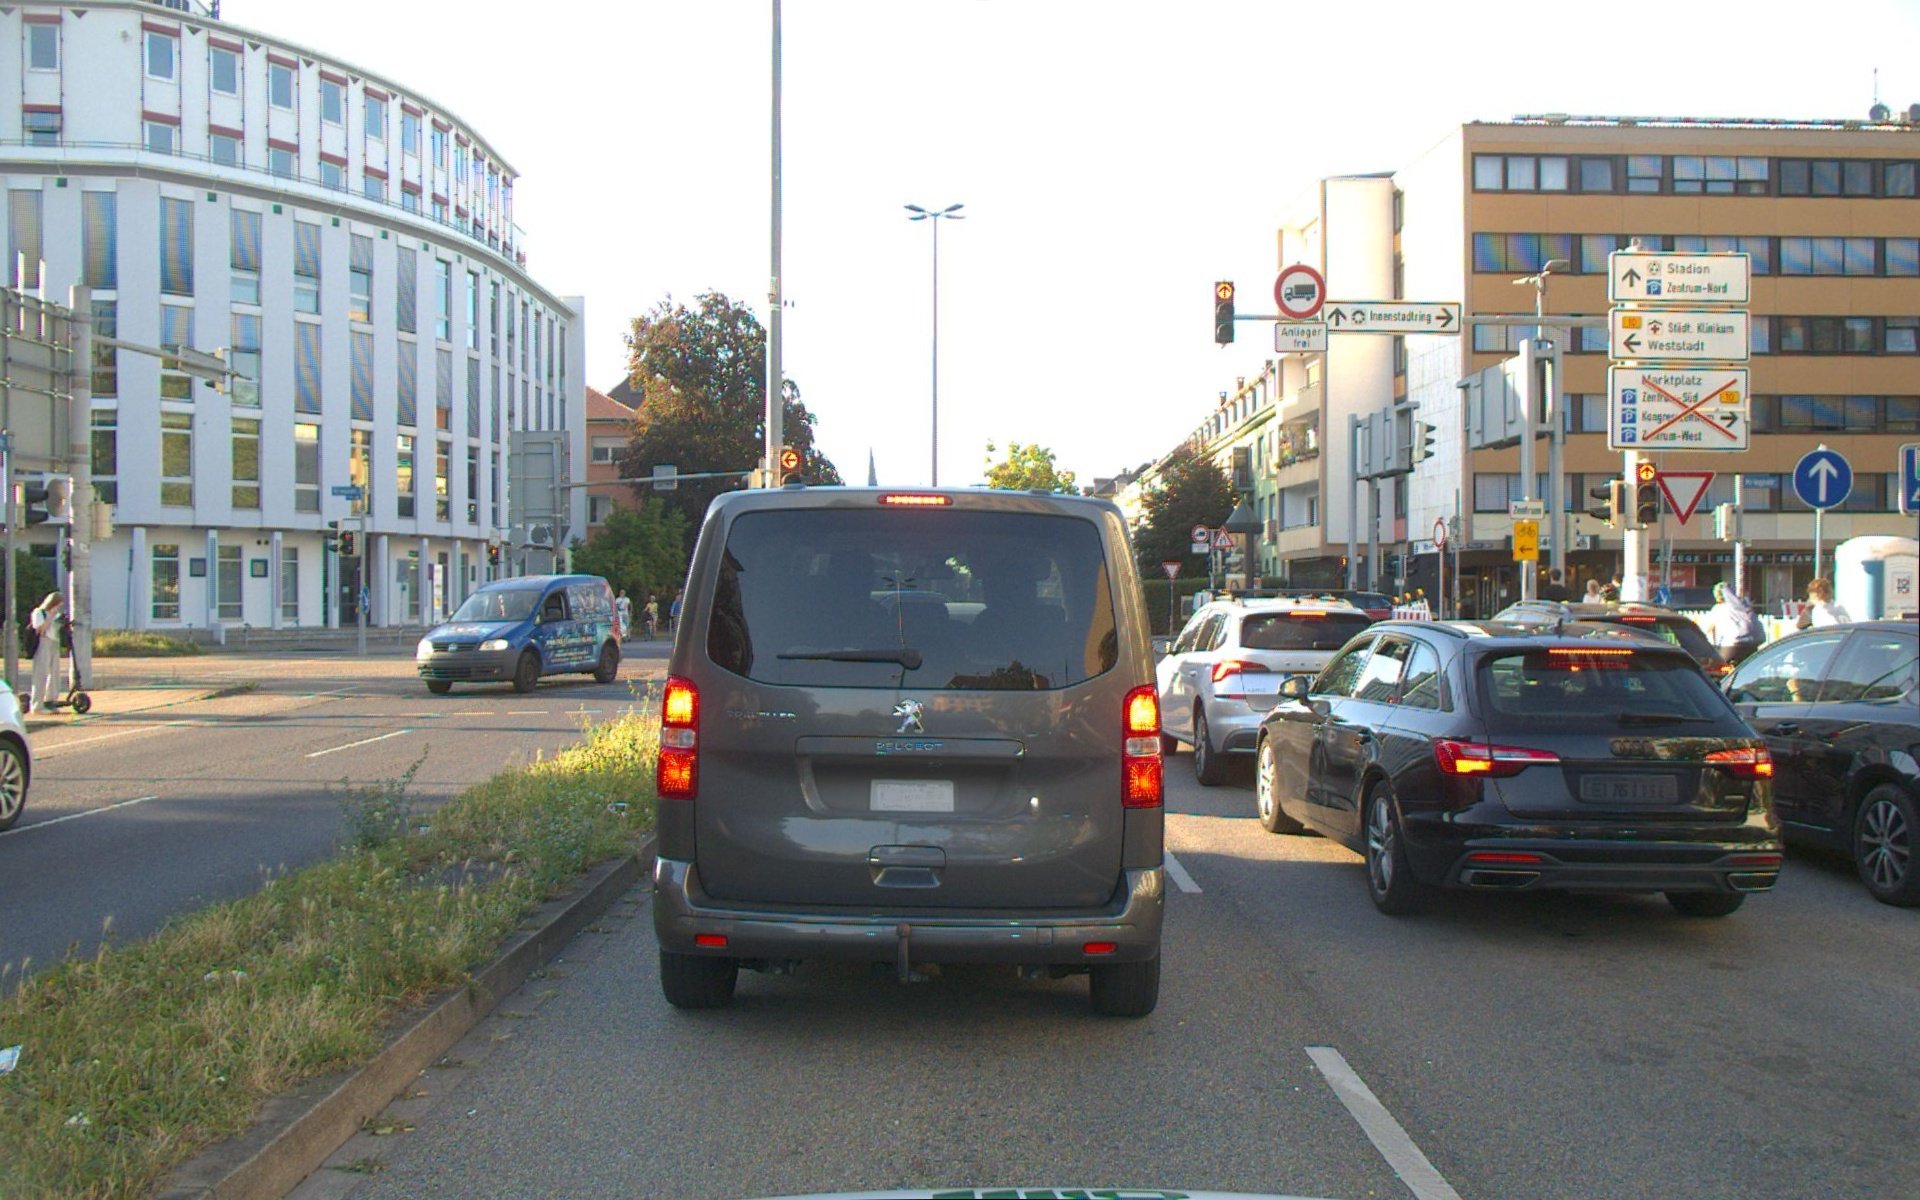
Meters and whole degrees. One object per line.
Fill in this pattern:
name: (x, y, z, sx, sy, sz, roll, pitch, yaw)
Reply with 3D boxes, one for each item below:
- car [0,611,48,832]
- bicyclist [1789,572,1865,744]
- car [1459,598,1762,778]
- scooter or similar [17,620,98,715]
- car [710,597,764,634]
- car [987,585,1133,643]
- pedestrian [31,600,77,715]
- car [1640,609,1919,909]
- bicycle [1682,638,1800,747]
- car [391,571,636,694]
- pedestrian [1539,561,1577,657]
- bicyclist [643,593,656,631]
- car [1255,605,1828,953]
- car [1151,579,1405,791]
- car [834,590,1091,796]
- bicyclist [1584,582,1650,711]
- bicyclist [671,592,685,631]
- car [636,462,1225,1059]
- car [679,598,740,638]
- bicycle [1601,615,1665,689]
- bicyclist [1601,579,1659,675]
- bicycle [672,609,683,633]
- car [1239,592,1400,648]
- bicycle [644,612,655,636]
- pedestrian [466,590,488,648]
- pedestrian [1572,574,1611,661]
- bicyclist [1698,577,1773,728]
car: (-7.007, 0.810, 9.353, 1.657, 1.412, 3.686, -1, 0, -1)
bicyclist: (7.977, 0.521, 15.221, 0.432, 1.552, 0.482, 0, 0, -1)
car: (5.930, 0.732, 15.467, 1.474, 1.474, 3.304, 1, 0, -1)
scooter or similar: (-12.177, 0.909, 22.325, 0.877, 1.255, 0.370, 0, 0, -12)
car: (-9.114, 0.623, 67.934, 1.819, 1.445, 3.998, 0, 0, -2)
car: (2.912, 0.402, 48.527, 4.039, 1.622, 1.793, 0, 0, -6)
pedestrian: (-12.256, 0.767, 22.371, 0.466, 1.532, 0.334, 0, 0, -13)
car: (5.600, 0.823, 9.732, 1.600, 1.474, 3.744, 1, 0, -1)
bicycle: (8.135, 0.934, 17.299, 0.329, 1.025, 1.855, 0, 0, -1)
car: (-7.196, 0.477, 27.138, 1.951, 1.849, 4.232, 0, 0, 17)
pedestrian: (11.718, 0.176, 32.429, 0.558, 1.866, 0.487, 0, 0, 1)
bicyclist: (-12.603, 0.480, 67.127, 0.453, 1.548, 0.469, 0, 0, -1)
car: (2.891, 0.780, 9.248, 1.647, 1.446, 4.213, 1, 0, -1)
car: (2.723, 0.668, 14.907, 1.498, 1.641, 3.744, 1, 0, -1)
car: (-0.013, 0.703, 14.608, 1.953, 1.557, 3.999, 0, 0, -1)
bicyclist: (8.067, 0.565, 20.317, 0.503, 1.552, 0.725, 0, 0, -1)
bicyclist: (-11.622, 0.462, 68.174, 0.467, 1.582, 0.509, 0, 0, -1)
car: (-0.125, 0.517, 7.610, 1.868, 1.896, 4.525, 1, 0, -1)
car: (-9.396, 0.645, 62.292, 1.819, 1.445, 3.998, 0, 0, -2)
bicycle: (11.532, 0.881, 28.364, 0.365, 1.181, 1.498, 1, 1, -4)
bicyclist: (11.497, 0.448, 28.388, 0.605, 1.616, 0.814, 1, 1, -4)
bicycle: (-11.655, 0.877, 68.235, 0.270, 0.965, 1.072, 0, 0, -1)
car: (9.627, 0.519, 44.308, 3.922, 1.443, 1.674, 0, 0, -16)
bicycle: (-12.606, 0.968, 67.138, 0.285, 0.965, 1.072, 0, 0, -1)
pedestrian: (-14.807, 0.582, 50.671, 0.615, 1.752, 0.669, 0, 0, -15)
pedestrian: (12.412, 0.346, 32.536, 0.589, 1.700, 0.454, 0, 0, 1)
bicyclist: (8.139, 0.542, 17.382, 0.432, 1.552, 0.725, 0, 0, -1)
